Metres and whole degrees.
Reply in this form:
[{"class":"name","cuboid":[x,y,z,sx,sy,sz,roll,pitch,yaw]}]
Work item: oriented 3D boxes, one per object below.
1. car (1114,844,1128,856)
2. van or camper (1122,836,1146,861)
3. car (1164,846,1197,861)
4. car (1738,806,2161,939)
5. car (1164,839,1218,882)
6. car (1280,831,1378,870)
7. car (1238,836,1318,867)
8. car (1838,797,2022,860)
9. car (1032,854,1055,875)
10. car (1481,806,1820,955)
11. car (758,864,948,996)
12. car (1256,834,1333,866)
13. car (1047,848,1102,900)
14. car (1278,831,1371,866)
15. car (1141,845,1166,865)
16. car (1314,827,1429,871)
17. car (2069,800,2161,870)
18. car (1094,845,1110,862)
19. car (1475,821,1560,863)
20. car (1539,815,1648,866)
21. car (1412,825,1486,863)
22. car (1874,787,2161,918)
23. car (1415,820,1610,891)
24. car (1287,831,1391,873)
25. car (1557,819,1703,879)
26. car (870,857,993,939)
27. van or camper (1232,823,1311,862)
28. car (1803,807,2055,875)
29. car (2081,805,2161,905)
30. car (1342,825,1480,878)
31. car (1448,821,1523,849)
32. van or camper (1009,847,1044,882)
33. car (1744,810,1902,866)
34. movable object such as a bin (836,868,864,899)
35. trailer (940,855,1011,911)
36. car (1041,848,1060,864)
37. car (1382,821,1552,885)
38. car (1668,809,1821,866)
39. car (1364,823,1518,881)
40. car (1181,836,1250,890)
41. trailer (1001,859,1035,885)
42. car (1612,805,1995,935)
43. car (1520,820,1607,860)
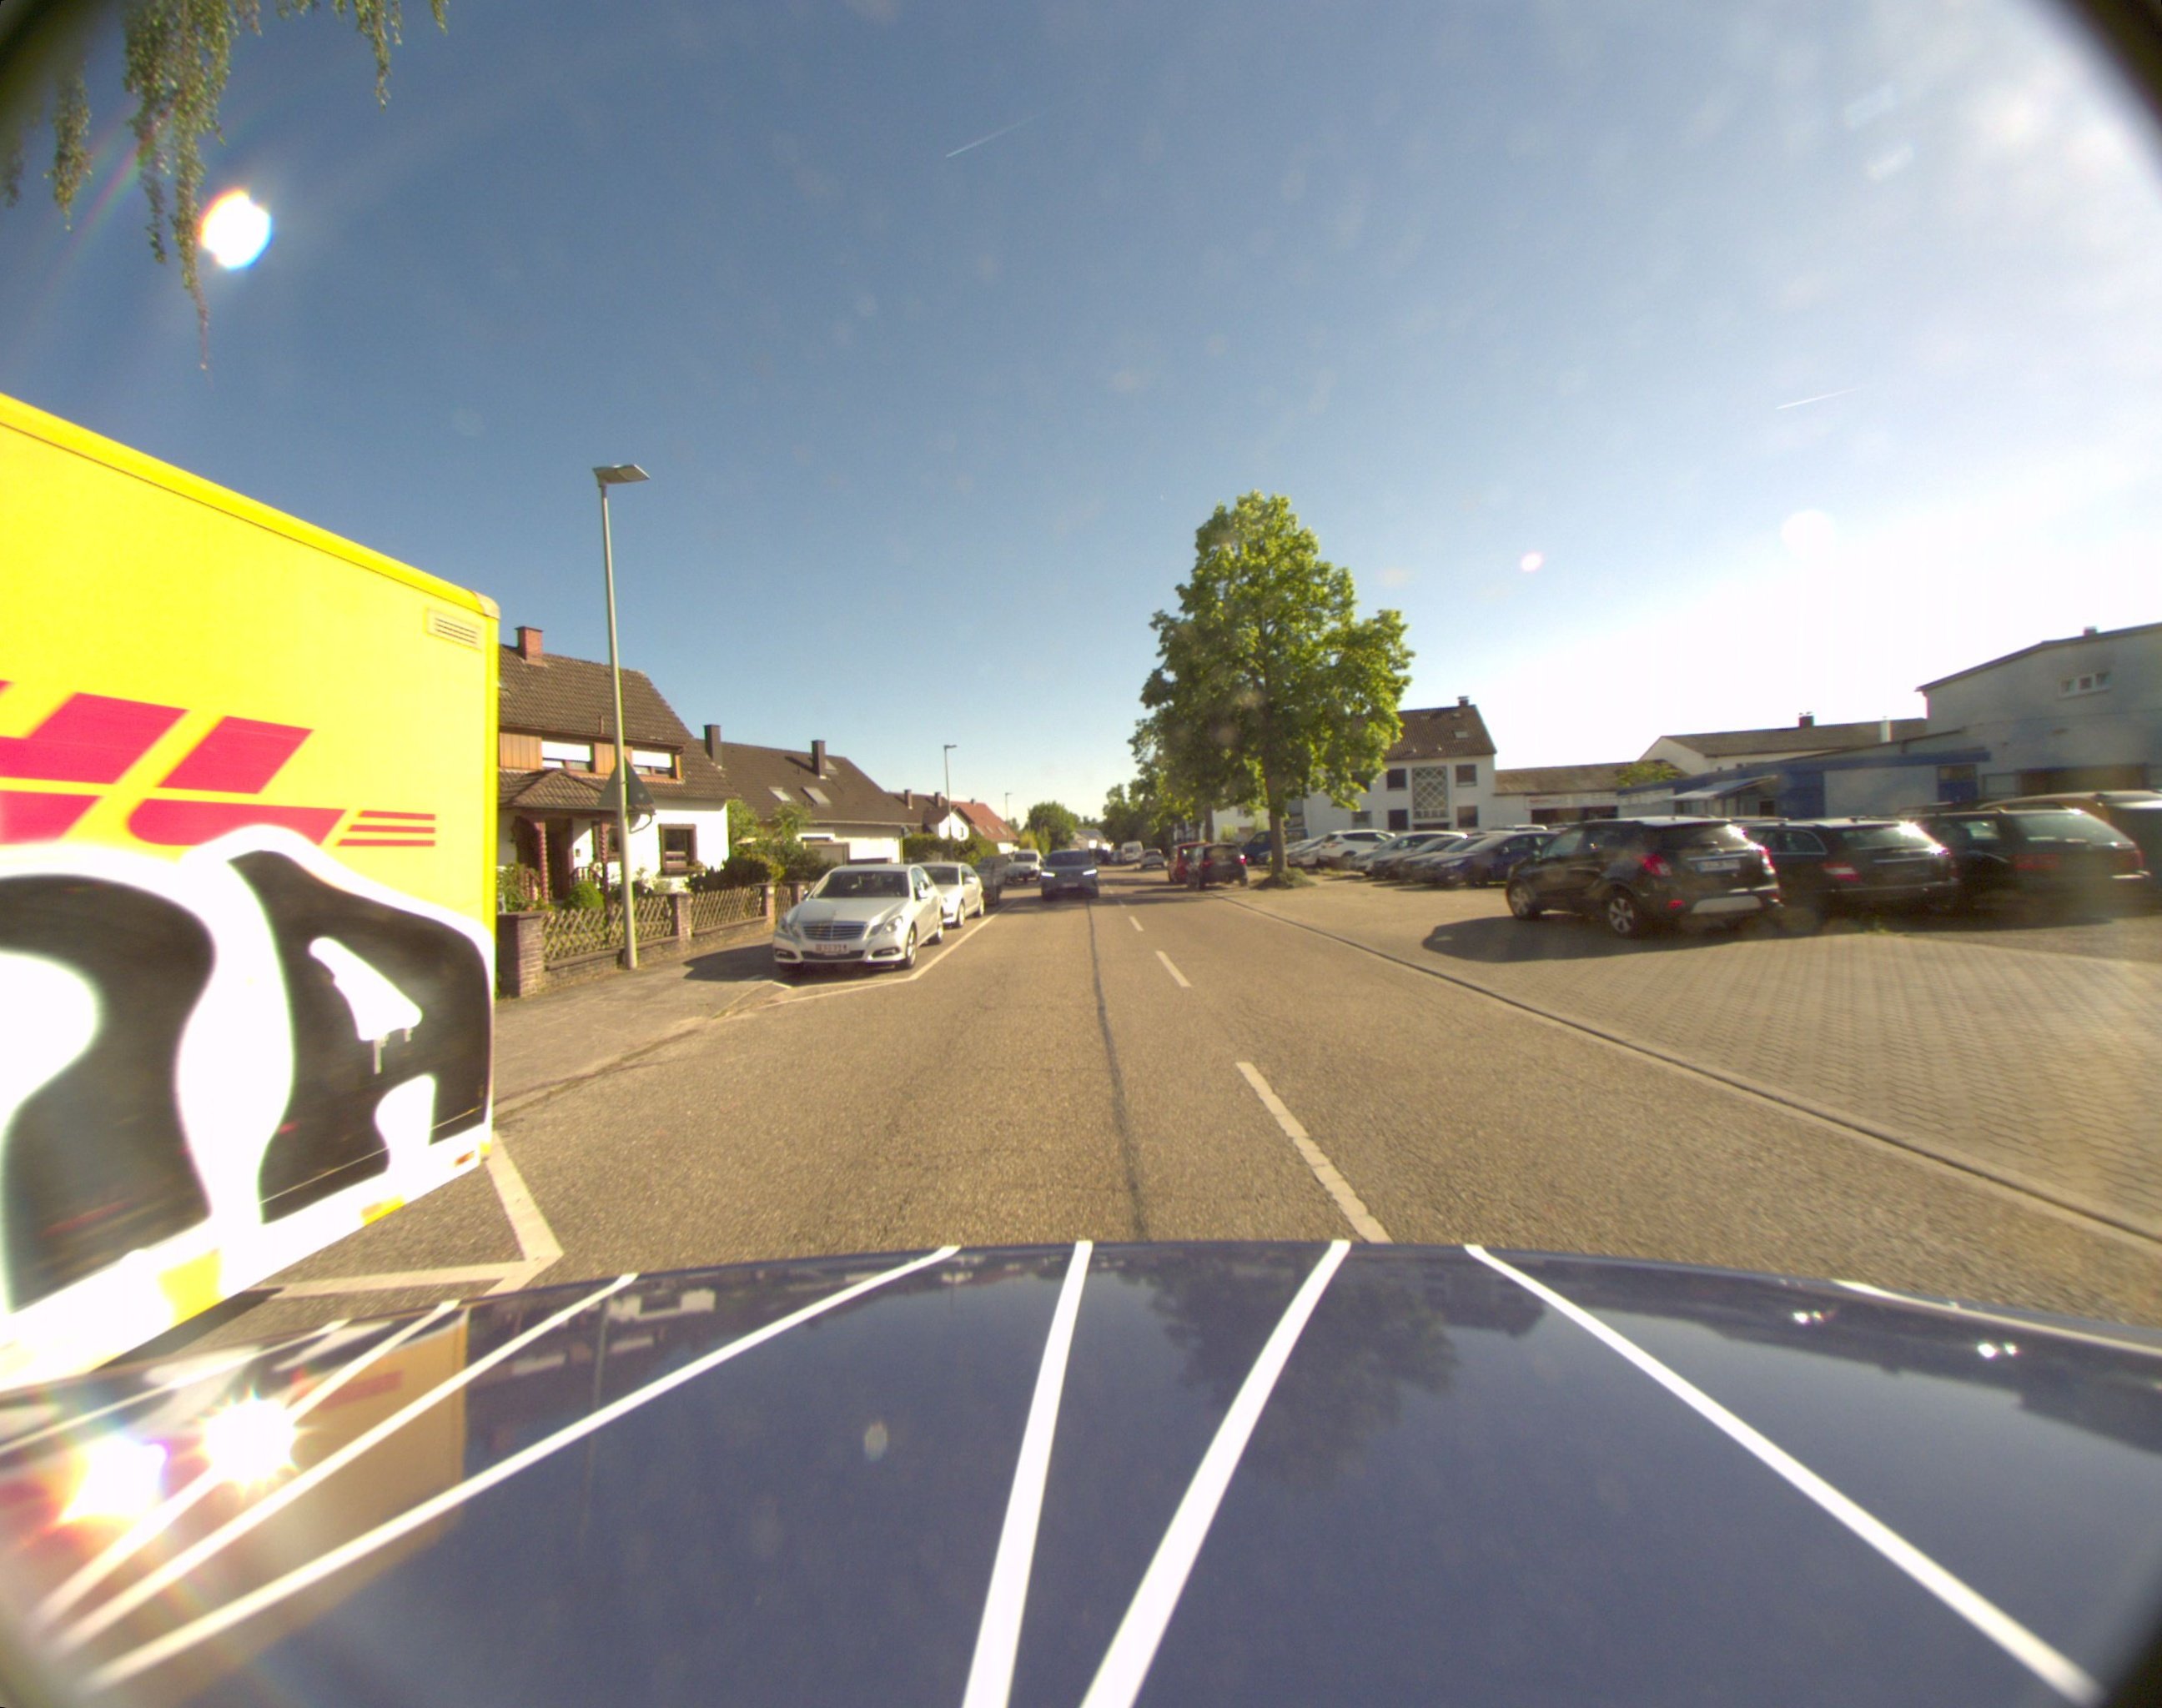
[{"class":"car","cuboid":[5.471,-0.543,103.989,1.697,1.557,3.907,-6,0,3]},{"class":"van or camper","cuboid":[5.823,-0.537,84.073,2.128,2.475,5.556,-5,-1,1]},{"class":"car","cuboid":[11.553,-0.100,88.279,1.610,1.505,4.396,-3,1,41]},{"class":"car","cuboid":[12.791,0.138,11.567,1.866,1.581,4.274,-3,3,0]},{"class":"car","cuboid":[5.044,0.251,35.350,1.808,1.742,4.341,-4,1,1]},{"class":"car","cuboid":[12.211,-0.177,37.650,4.258,1.742,1.766,-2,1,4]},{"class":"car","cuboid":[11.478,-0.144,44.476,4.257,1.533,1.766,-3,1,6]},{"class":"car","cuboid":[25.029,-0.733,22.632,1.666,1.644,4.003,-3,1,14]},{"class":"car","cuboid":[-3.193,0.857,65.576,1.780,1.649,3.815,-3,0,-1]},{"class":"car","cuboid":[8.289,0.312,11.679,1.866,1.704,4.275,-6,1,0]},{"class":"car","cuboid":[-3.337,1.006,12.075,1.788,1.533,4.535,-3,1,-3]},{"class":"car","cuboid":[11.828,-0.242,42.206,3.814,1.533,1.548,-3,1,1]},{"class":"car","cuboid":[-0.237,0.659,26.843,1.777,1.624,3.703,-2,0,-1]},{"class":"car","cuboid":[12.766,-0.273,39.952,4.260,1.576,1.765,-3,1,-1]},{"class":"car","cuboid":[5.855,0.078,61.962,1.691,1.427,4.209,-5,0,2]},{"class":"car","cuboid":[12.567,-0.227,33.023,4.259,1.719,1.765,-2,1,1]},{"class":"car","cuboid":[26.098,-0.512,17.515,3.994,1.543,1.670,-3,1,8]},{"class":"car","cuboid":[2.535,-0.105,92.876,1.899,2.020,4.817,-1,1,1]},{"class":"car","cuboid":[18.583,-0.502,32.551,1.667,1.609,4.001,-3,1,6]},{"class":"car","cuboid":[18.905,-0.493,28.253,1.667,1.684,4.001,-3,1,6]},{"class":"car","cuboid":[16.276,-0.430,33.823,1.667,1.508,4.001,-3,1,6]},{"class":"car","cuboid":[15.461,-0.040,12.131,1.779,1.738,4.168,-2,-1,11]},{"class":"car","cuboid":[11.706,0.036,20.842,4.257,1.719,1.766,-2,1,6]},{"class":"car","cuboid":[11.898,-0.100,35.259,4.257,1.719,1.766,-2,1,6]},{"class":"car","cuboid":[15.827,-0.164,22.168,1.667,1.508,4.001,-3,1,6]},{"class":"car","cuboid":[-3.280,0.906,17.478,1.678,1.533,4.043,-3,1,4]},{"class":"van or camper","cuboid":[12.630,-0.756,50.572,4.900,2.307,2.245,-3,2,13]},{"class":"car","cuboid":[21.115,-0.324,19.114,3.993,1.442,1.670,-3,2,13]},{"class":"car","cuboid":[17.260,-0.026,10.529,1.779,1.536,4.168,-2,-1,11]},{"class":"car","cuboid":[12.112,-0.112,28.085,4.259,1.719,1.766,-2,1,2]},{"class":"car","cuboid":[25.235,-1.165,47.459,3.811,1.533,1.549,-3,1,13]},{"class":"van or camper","cuboid":[-3.187,0.581,45.387,1.723,1.880,4.179,-3,1,0]},{"class":"car","cuboid":[22.680,-0.490,23.455,1.666,1.508,4.003,-3,1,14]},{"class":"movable object such as a bin","cuboid":[-8.222,1.051,27.077,0.524,1.047,0.754,-2,1,25]},{"class":"trailer","cuboid":[-3.224,0.857,23.792,1.631,1.529,3.198,-3,1,1]},{"class":"car","cuboid":[-3.406,0.216,85.313,1.780,1.649,4.303,-3,0,2]},{"class":"car","cuboid":[11.663,-0.039,23.203,4.257,1.719,1.766,-2,1,6]},{"class":"car","cuboid":[20.460,-0.489,23.657,1.667,1.555,3.850,-3,1,6]},{"class":"car","cuboid":[11.959,-0.064,25.473,4.257,1.719,1.766,-2,1,6]},{"class":"car","cuboid":[5.051,0.300,29.124,1.678,1.761,4.554,-5,1,0]},{"class":"trailer","cuboid":[-3.329,0.920,40.528,1.631,1.210,3.143,-3,1,-2]},{"class":"car","cuboid":[10.735,0.184,11.851,1.866,1.580,4.275,-3,1,0]},{"class":"car","cuboid":[20.622,-0.603,32.660,1.667,1.555,3.717,-3,1,6]}]
